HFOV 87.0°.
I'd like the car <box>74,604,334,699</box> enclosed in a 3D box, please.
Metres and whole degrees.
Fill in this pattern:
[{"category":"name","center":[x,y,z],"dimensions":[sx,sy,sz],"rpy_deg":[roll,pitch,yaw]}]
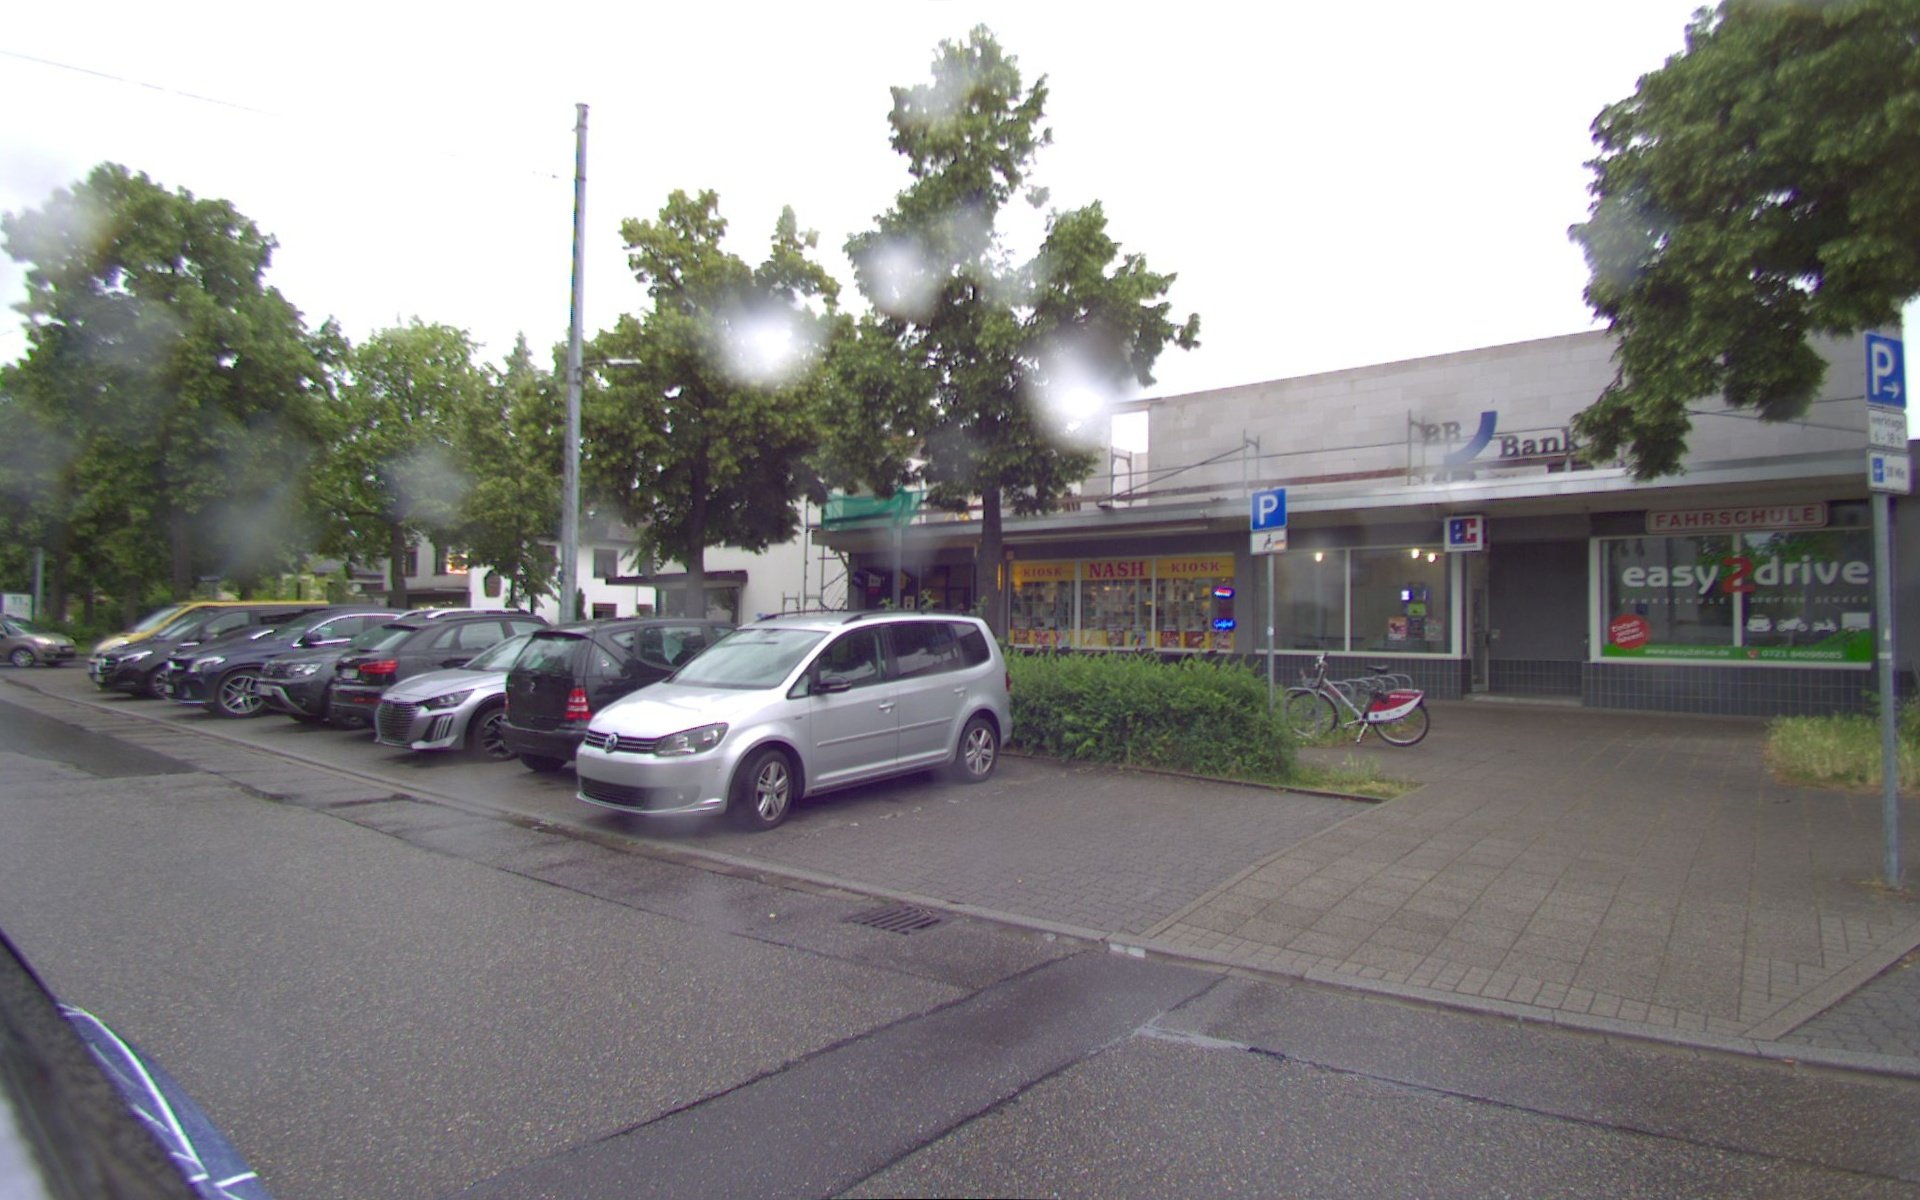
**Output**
[{"category":"car","center":[-17.440,1.096,23.571],"dimensions":[1.713,1.973,4.600],"rpy_deg":[-1,-1,38]}]

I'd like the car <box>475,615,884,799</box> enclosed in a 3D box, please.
[{"category":"car","center":[-2.858,0.977,11.155],"dimensions":[1.633,1.577,4.231],"rpy_deg":[-1,0,38]}]

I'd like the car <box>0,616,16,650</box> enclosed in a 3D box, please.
[{"category":"car","center":[-49.707,1.699,50.181],"dimensions":[1.997,1.698,3.950],"rpy_deg":[-1,0,37]}]

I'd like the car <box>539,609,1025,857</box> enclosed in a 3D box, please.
[{"category":"car","center":[-1.314,0.914,9.012],"dimensions":[1.713,1.647,4.231],"rpy_deg":[-1,-1,38]}]

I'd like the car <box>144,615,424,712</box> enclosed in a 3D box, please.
[{"category":"car","center":[-13.029,1.135,19.739],"dimensions":[1.713,1.639,4.231],"rpy_deg":[-1,-1,38]}]

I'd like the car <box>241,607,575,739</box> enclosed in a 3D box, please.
[{"category":"car","center":[-8.349,0.989,15.645],"dimensions":[1.713,1.740,4.231],"rpy_deg":[-1,-1,38]}]

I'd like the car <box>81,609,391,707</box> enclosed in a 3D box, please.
[{"category":"car","center":[-15.158,1.110,21.522],"dimensions":[1.713,1.813,5.114],"rpy_deg":[-1,-1,38]}]

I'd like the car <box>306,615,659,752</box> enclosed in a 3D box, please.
[{"category":"car","center":[-6.577,1.035,14.358],"dimensions":[1.713,1.607,4.231],"rpy_deg":[-1,-1,38]}]

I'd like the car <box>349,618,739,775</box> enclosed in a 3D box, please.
[{"category":"car","center":[-4.962,1.030,12.610],"dimensions":[1.713,1.544,4.231],"rpy_deg":[-1,-1,38]}]

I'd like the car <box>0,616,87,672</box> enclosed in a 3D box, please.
[{"category":"car","center":[-30.420,1.359,31.939],"dimensions":[3.934,1.700,1.845],"rpy_deg":[1,0,-12]}]

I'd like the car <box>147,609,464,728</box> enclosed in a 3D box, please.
[{"category":"car","center":[-10.999,1.045,17.282],"dimensions":[1.713,1.740,4.231],"rpy_deg":[-1,-1,38]}]

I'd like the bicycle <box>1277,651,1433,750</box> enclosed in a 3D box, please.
[{"category":"bicycle","center":[4.801,1.199,12.347],"dimensions":[1.739,1.115,0.316],"rpy_deg":[-1,0,25]}]
